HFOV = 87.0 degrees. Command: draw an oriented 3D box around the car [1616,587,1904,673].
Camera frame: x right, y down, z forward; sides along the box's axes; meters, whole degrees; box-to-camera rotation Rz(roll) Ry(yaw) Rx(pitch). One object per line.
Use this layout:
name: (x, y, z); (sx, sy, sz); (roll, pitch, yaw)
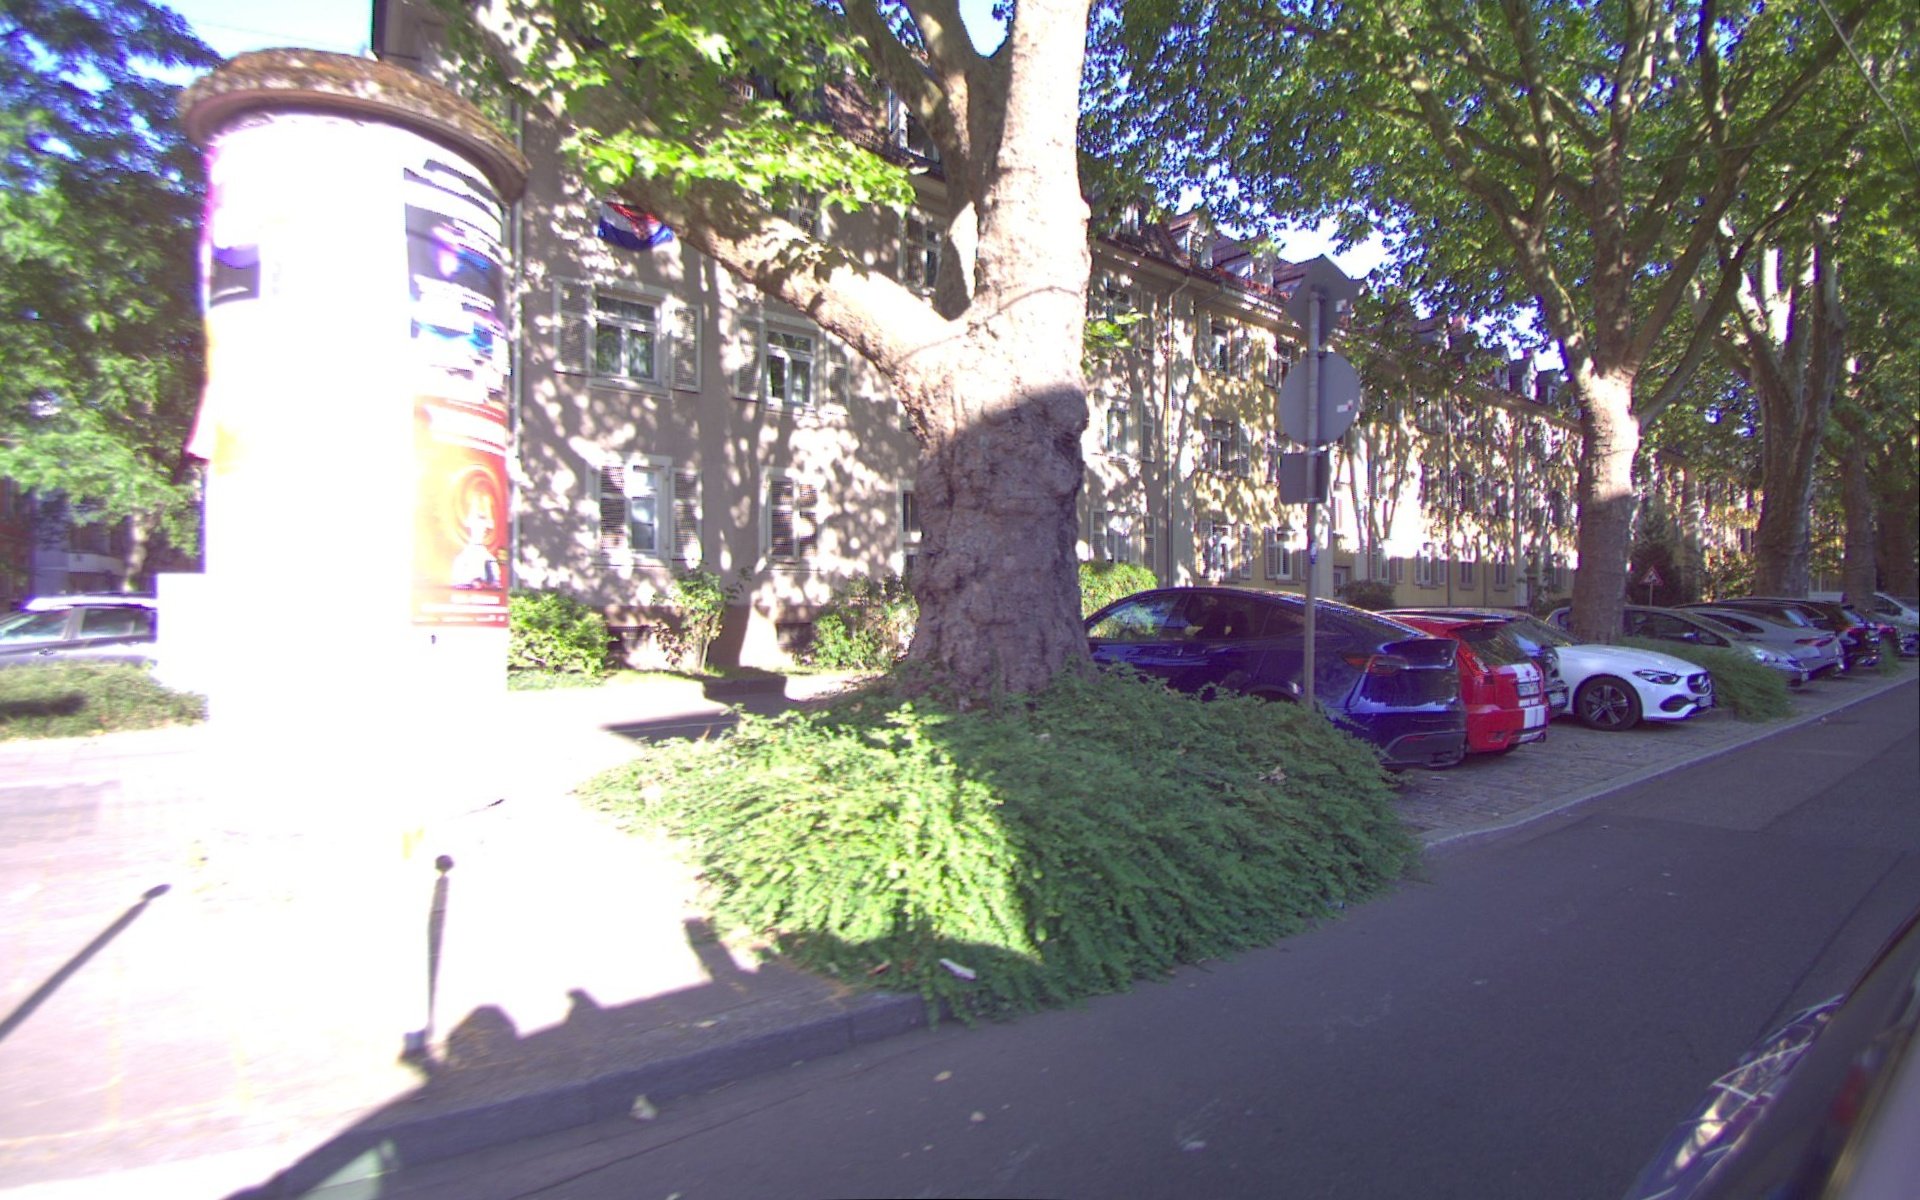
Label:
car: (17.185, 0.572, 21.962); (1.858, 1.661, 4.613); (1, 0, -37)

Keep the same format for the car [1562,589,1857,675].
car: (15.419, 0.584, 21.058); (1.858, 1.586, 4.613); (1, 0, -37)

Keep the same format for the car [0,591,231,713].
car: (-12.708, 0.675, 14.152); (3.921, 1.602, 1.731); (0, 0, -31)

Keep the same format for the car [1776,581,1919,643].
car: (31.278, 0.387, 34.846); (1.858, 2.039, 4.638); (1, 0, -37)

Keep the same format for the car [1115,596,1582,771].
car: (3.973, 0.719, 10.934); (1.860, 1.463, 4.362); (1, 0, -42)

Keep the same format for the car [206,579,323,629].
car: (-29.012, 0.151, 42.384); (3.921, 2.020, 1.801); (0, 0, -31)

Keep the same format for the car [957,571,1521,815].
car: (2.226, 0.617, 9.306); (1.859, 1.652, 4.808); (1, 0, -40)

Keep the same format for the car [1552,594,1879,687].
car: (14.038, 0.670, 19.073); (1.858, 1.513, 4.613); (1, 0, -37)

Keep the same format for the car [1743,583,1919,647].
car: (26.827, 0.430, 30.641); (1.858, 1.814, 4.613); (1, 0, -37)

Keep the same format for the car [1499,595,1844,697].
car: (12.249, 0.696, 17.732); (1.858, 1.513, 4.613); (1, 0, -37)

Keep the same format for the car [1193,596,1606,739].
car: (5.356, 0.708, 12.900); (1.858, 1.463, 4.510); (1, 0, -37)

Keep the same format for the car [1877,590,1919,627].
car: (46.405, 0.433, 47.614); (1.858, 1.737, 4.613); (1, 0, -37)

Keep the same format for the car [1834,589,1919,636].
car: (37.399, 0.484, 39.561); (1.858, 1.814, 4.613); (1, 0, -37)

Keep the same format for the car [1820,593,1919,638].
car: (35.611, 0.579, 38.115); (1.858, 1.661, 4.613); (1, 0, -37)

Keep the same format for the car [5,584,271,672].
car: (-16.274, 0.506, 20.313); (3.921, 1.602, 1.731); (0, 0, -31)

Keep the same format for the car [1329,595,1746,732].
car: (7.640, 0.719, 13.838); (1.858, 1.513, 4.613); (1, 0, -37)

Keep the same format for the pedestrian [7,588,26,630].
pedestrian: (-40.116, 0.379, 43.033); (0.512, 1.770, 0.490); (0, -1, -34)

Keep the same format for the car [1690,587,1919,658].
car: (22.040, 0.524, 26.351); (1.858, 1.661, 4.613); (1, 0, -37)

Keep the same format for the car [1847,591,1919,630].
car: (42.658, 0.472, 44.996); (1.858, 1.737, 4.613); (1, 0, -37)

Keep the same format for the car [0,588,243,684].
car: (-15.454, 0.602, 18.295); (3.921, 1.602, 1.731); (0, 0, -31)

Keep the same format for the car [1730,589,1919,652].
car: (25.078, 0.538, 28.891); (1.858, 1.661, 4.613); (1, 0, -37)
